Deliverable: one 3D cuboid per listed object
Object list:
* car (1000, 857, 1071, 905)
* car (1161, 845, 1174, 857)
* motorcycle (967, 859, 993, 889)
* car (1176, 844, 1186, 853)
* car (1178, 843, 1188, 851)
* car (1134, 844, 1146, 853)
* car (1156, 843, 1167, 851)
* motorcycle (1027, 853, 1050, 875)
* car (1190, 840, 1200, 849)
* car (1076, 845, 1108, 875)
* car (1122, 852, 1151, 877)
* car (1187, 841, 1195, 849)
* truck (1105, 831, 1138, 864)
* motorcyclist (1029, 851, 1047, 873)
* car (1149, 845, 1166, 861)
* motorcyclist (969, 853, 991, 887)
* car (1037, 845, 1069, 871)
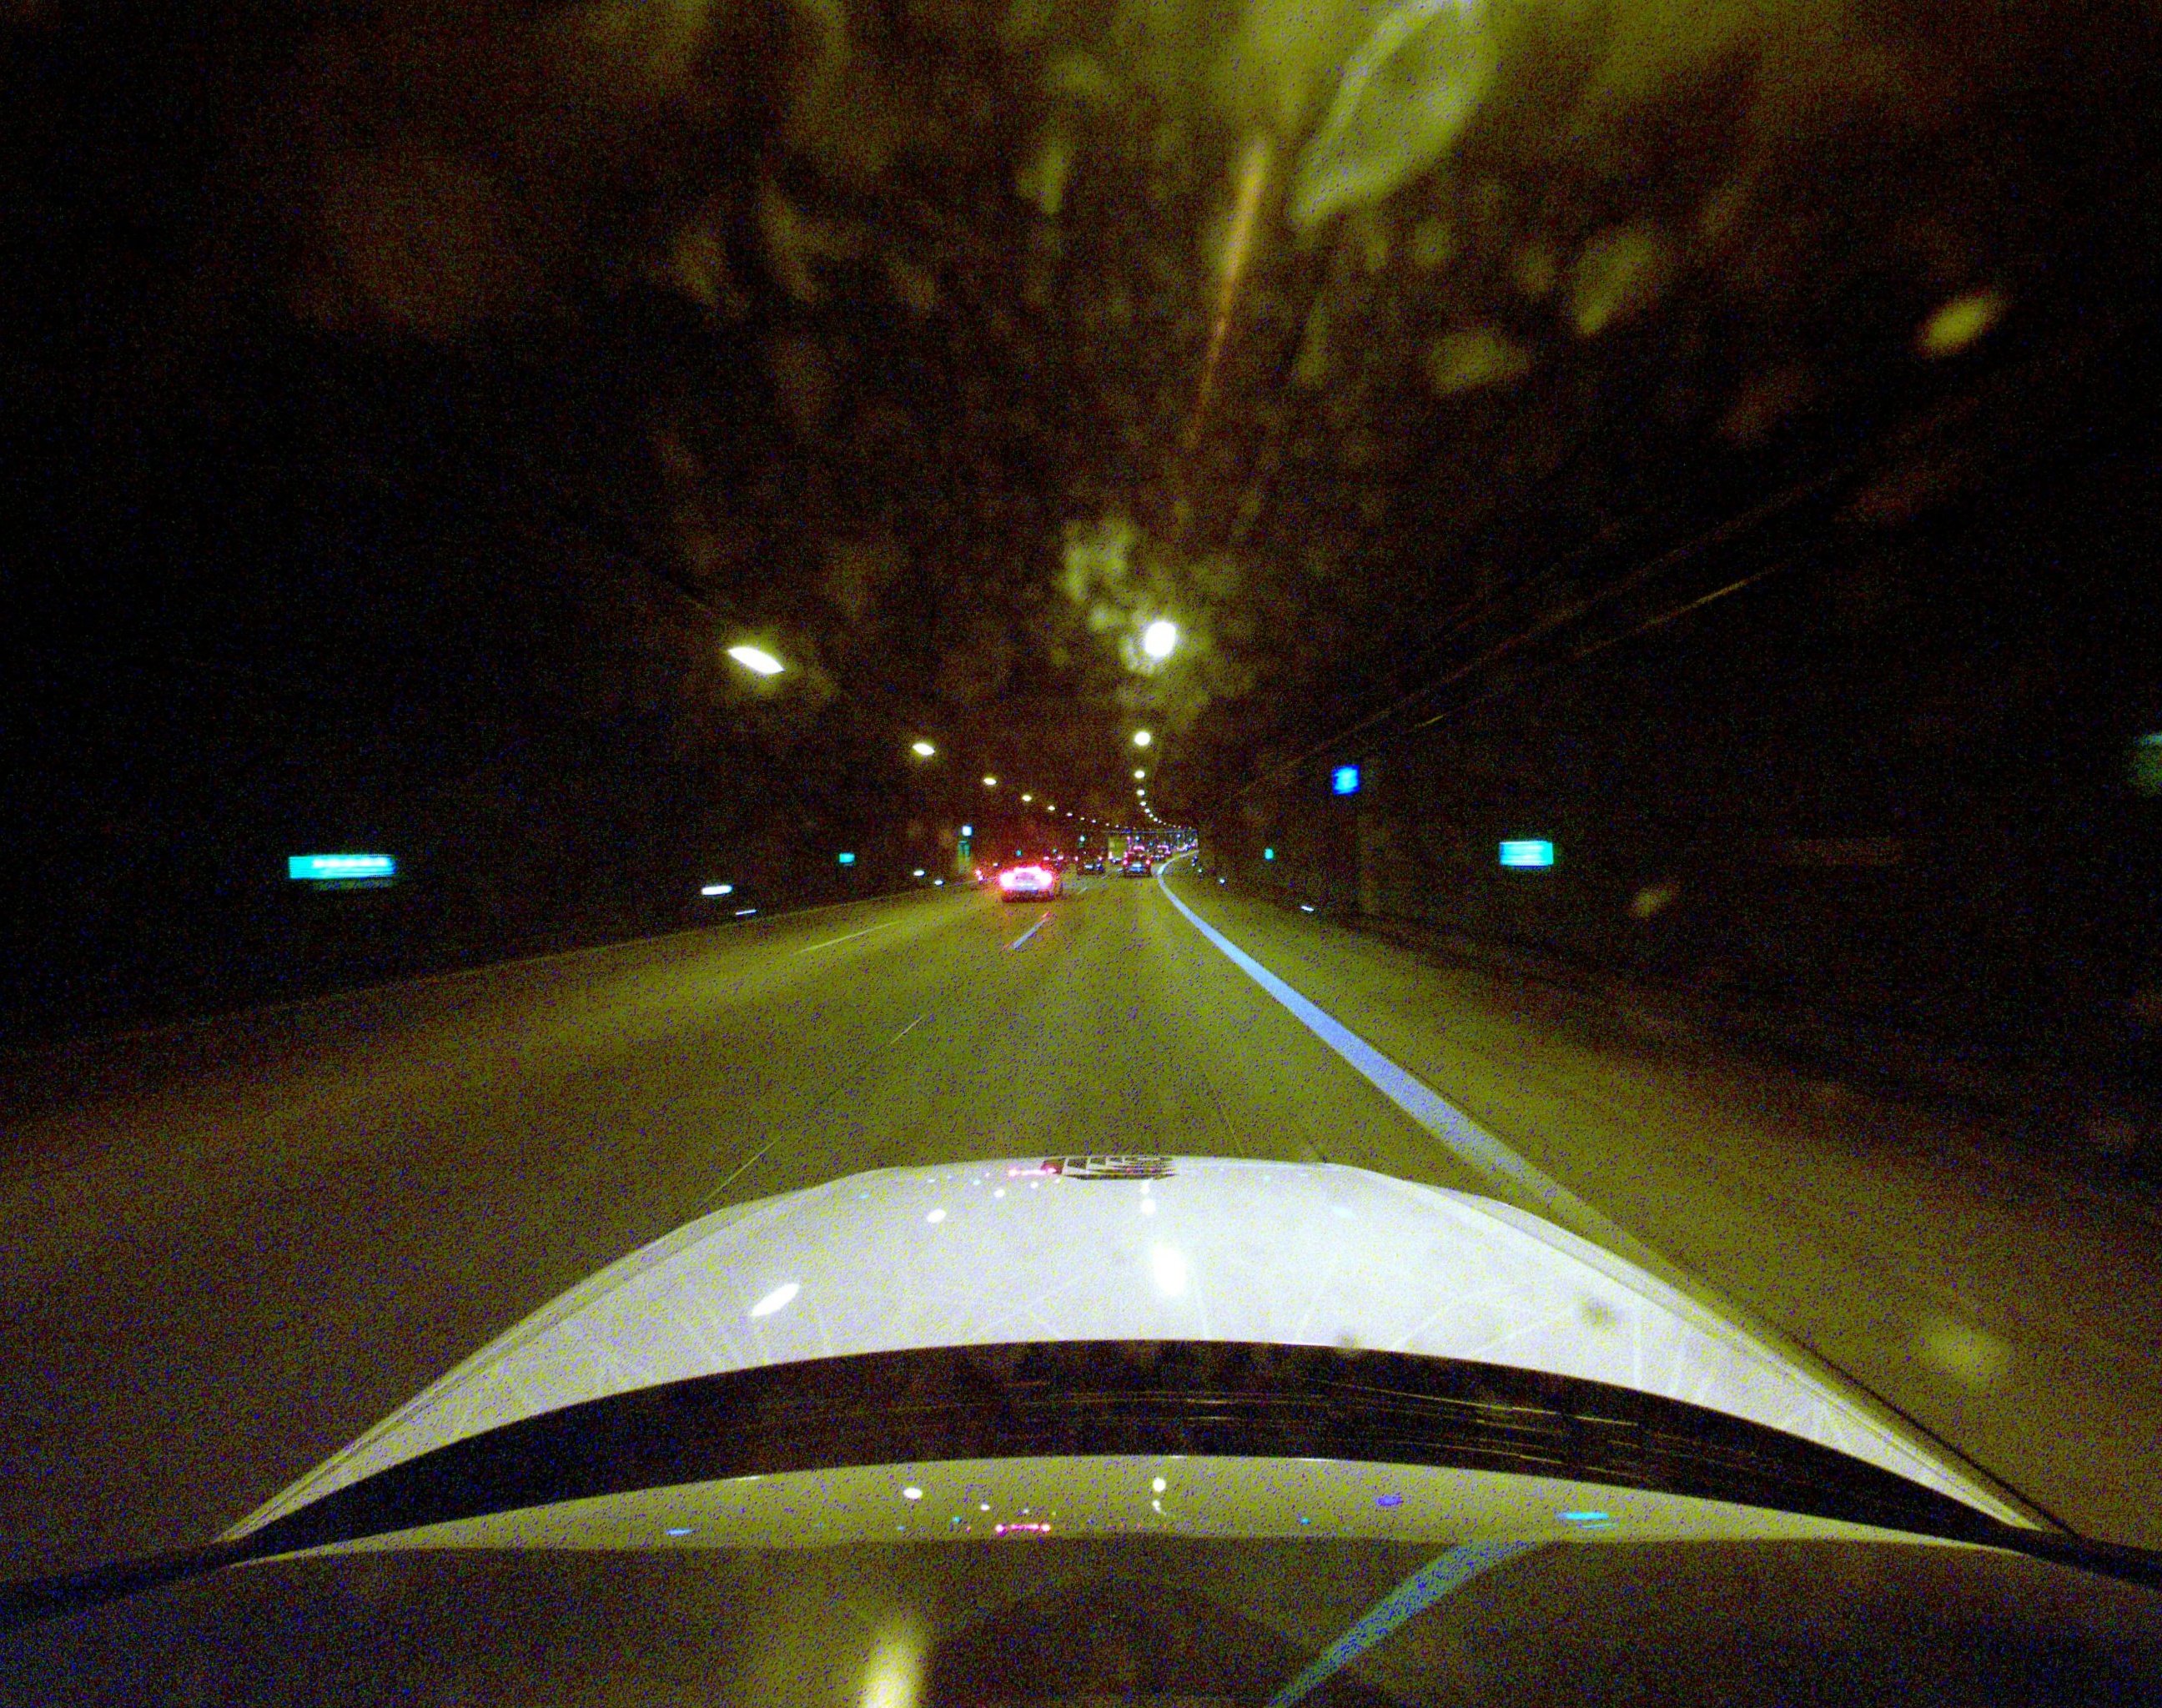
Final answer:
[{"bbox_3d":[-1.501,0.866,28.740,1.694,1.419,5.069,-1,1,6],"label":"car"},{"bbox_3d":[13.138,-0.397,123.417,1.940,1.772,4.007,-1,-1,6],"label":"car"},{"bbox_3d":[-4.503,0.858,36.468,0.679,1.297,2.402,-1,0,5],"label":"motorcycle"},{"bbox_3d":[19.717,-1.104,161.196,1.920,1.642,4.008,-1,-1,7],"label":"car"},{"bbox_3d":[23.585,-1.629,188.444,1.981,1.632,4.011,-1,-1,10],"label":"car"},{"bbox_3d":[11.065,-0.994,152.236,1.920,1.642,4.009,-1,0,8],"label":"car"},{"bbox_3d":[18.395,-1.514,185.275,1.917,1.642,4.015,-1,-1,14],"label":"car"},{"bbox_3d":[-2.839,0.648,54.354,0.921,1.434,2.971,0,-1,9],"label":"motorcycle"},{"bbox_3d":[27.019,-2.313,192.277,1.980,2.014,4.014,-1,-1,13],"label":"car"},{"bbox_3d":[0.828,0.411,59.053,1.900,1.944,3.878,-1,2,6],"label":"car"},{"bbox_3d":[3.580,0.632,52.330,1.734,1.464,3.876,-1,1,4],"label":"car"},{"bbox_3d":[27.368,-2.267,202.906,1.982,2.014,4.010,-1,-1,9],"label":"car"},{"bbox_3d":[4.782,-0.690,94.975,3.021,3.673,7.410,-1,0,9],"label":"truck"},{"bbox_3d":[-2.864,0.521,54.376,0.801,1.448,1.870,-1,-1,10],"label":"motorcyclist"},{"bbox_3d":[9.052,-0.113,96.300,1.847,1.854,4.008,-1,0,7],"label":"car"},{"bbox_3d":[-4.511,0.712,36.506,0.773,1.452,1.070,-1,-1,5],"label":"motorcyclist"},{"bbox_3d":[-2.316,0.327,67.495,1.983,2.013,4.008,-1,0,7],"label":"car"}]
